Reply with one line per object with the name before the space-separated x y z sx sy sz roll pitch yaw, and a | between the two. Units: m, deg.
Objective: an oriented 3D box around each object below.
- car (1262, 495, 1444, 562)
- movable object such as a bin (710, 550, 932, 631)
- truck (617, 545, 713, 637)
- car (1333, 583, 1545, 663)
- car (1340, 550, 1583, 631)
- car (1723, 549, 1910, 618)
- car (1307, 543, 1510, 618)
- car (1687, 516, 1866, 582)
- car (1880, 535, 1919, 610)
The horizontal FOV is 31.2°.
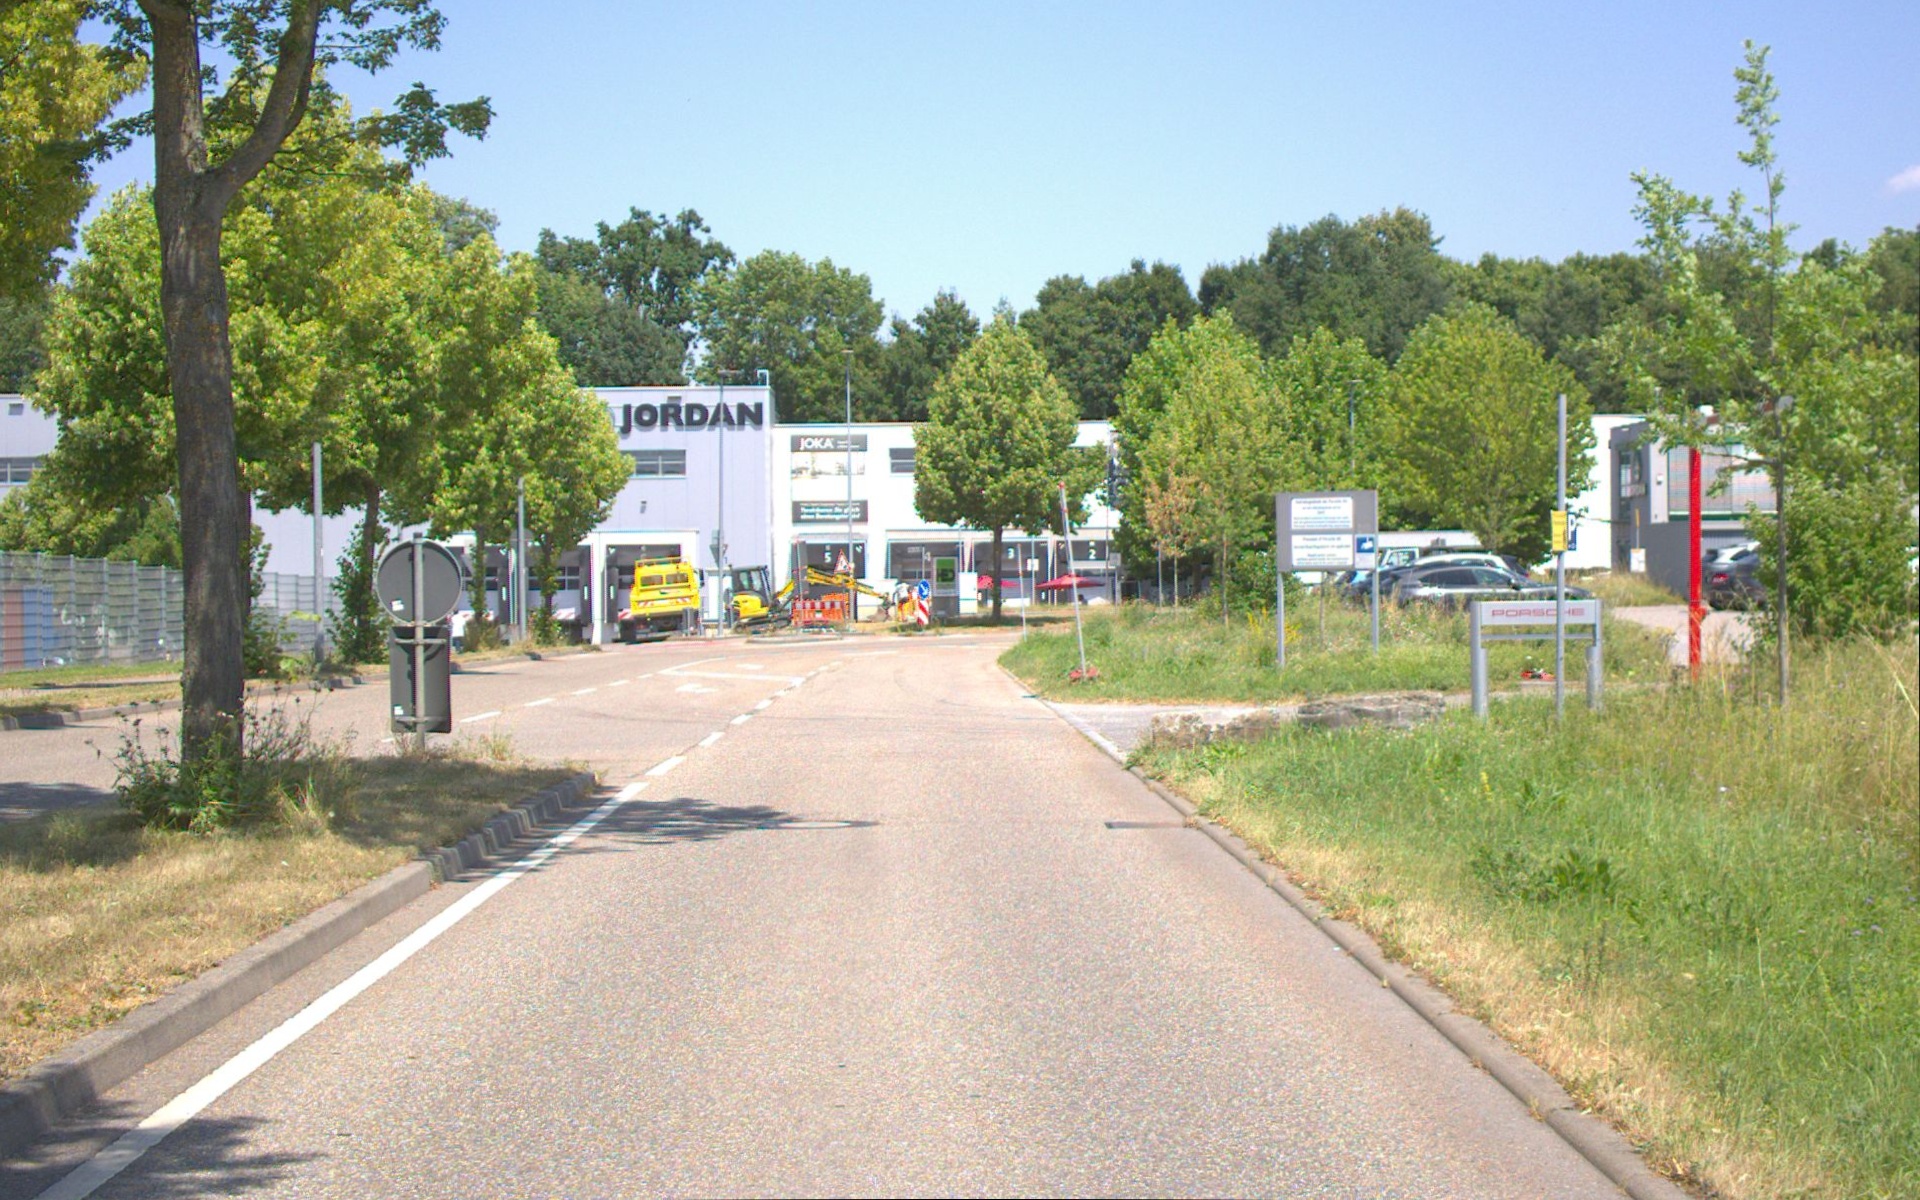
car | 9.653 -1.770 84.597 4.162 1.395 1.769 -2 4 -4
movable object such as a bin | -5.036 -0.372 125.671 7.528 2.491 3.666 -2 4 7
truck | -10.799 -0.362 125.478 2.938 2.876 5.812 -3 4 -9
car | 10.194 0.481 73.321 4.162 1.395 1.769 -2 4 -4
car | 10.273 -0.206 70.631 4.704 1.395 1.922 -2 4 2
car | 20.656 -0.398 82.964 3.986 1.395 1.769 -2 4 -4
car | 9.907 -0.447 76.120 4.162 1.395 1.769 -2 4 -4
car | 20.395 -1.284 85.949 3.986 1.395 1.769 -2 4 -4
car | 20.941 -0.626 69.790 3.986 1.395 1.769 -2 4 -3
